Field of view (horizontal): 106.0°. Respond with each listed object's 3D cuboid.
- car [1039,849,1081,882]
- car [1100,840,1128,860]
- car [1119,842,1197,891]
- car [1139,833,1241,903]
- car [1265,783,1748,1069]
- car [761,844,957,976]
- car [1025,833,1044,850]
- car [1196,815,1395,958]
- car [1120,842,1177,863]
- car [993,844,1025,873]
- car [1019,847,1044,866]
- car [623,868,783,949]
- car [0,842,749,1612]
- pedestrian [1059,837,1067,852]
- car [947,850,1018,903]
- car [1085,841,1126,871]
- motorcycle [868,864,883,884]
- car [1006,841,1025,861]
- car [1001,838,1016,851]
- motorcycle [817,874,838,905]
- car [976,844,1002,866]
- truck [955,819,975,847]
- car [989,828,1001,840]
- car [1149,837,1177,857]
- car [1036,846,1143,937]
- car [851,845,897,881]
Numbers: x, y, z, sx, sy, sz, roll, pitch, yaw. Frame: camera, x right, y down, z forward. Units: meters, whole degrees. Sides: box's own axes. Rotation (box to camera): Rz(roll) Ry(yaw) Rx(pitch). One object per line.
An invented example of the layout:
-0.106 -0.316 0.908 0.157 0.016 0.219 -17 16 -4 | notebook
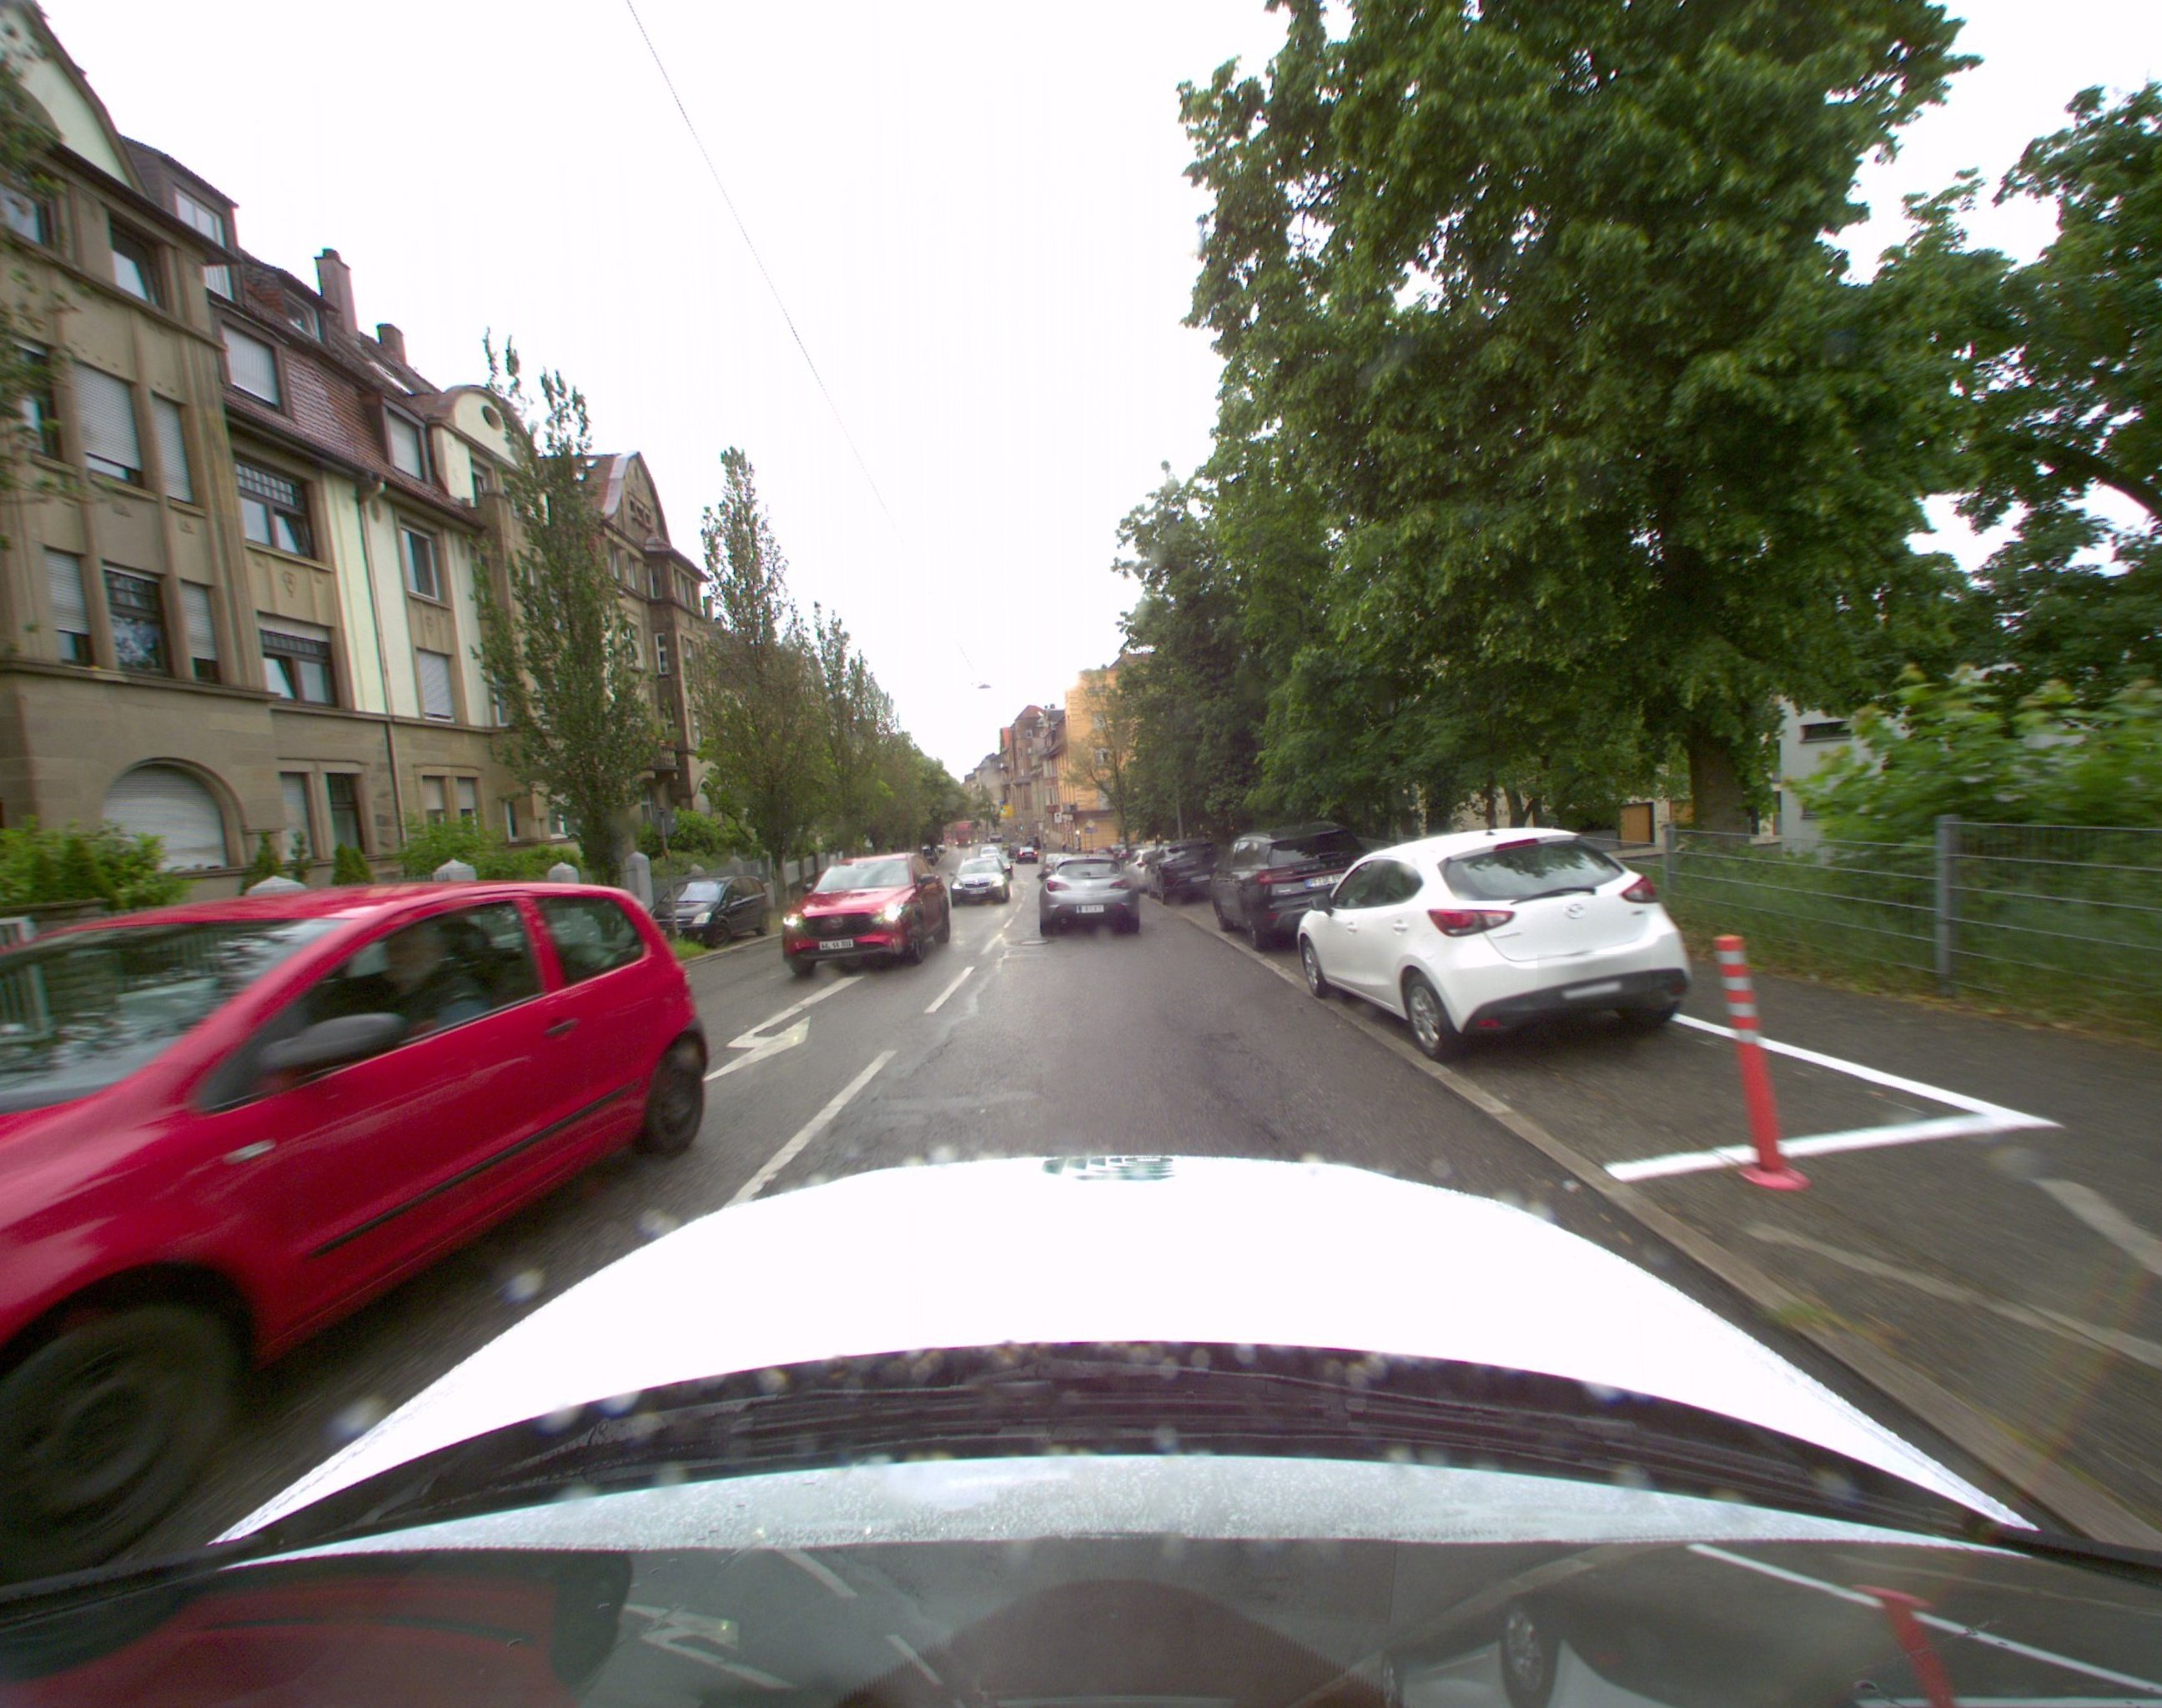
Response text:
-1.037 0.550 38.964 1.773 1.430 3.779 -2 -1 -5 | car
2.698 -0.337 65.264 1.765 1.429 3.796 -2 2 9 | car
2.647 0.435 28.975 1.973 1.452 4.107 -6 0 -5 | car
2.955 0.380 23.087 1.971 1.609 4.481 -6 0 -2 | car
3.086 0.459 7.017 1.810 1.494 3.997 -9 -1 -2 | car
-3.270 0.723 12.950 1.840 1.583 4.278 -6 0 -1 | car
-5.676 -1.470 98.927 1.992 1.688 3.992 -9 1 -6 | car
3.110 0.402 12.930 1.815 1.683 4.804 -5 0 1 | car
4.817 -0.103 58.170 3.771 1.430 1.777 1 -1 -8 | car
-4.087 0.269 46.506 1.658 1.448 3.986 -4 0 -5 | car
-4.039 0.157 65.938 1.766 1.414 3.707 -1 1 -7 | car
-8.793 1.189 19.345 1.808 1.612 4.001 -2 0 1 | car
-2.985 0.786 2.981 1.648 1.568 4.003 -3 0 3 | car
-1.818 -0.983 82.222 0.612 1.496 0.552 -3 3 -4 | pedestrian
-3.129 0.660 26.735 1.733 1.473 4.280 -4 0 0 | car
1.412 0.145 48.072 1.812 1.467 3.993 -8 0 -5 | car
-13.641 1.311 54.067 0.558 1.237 1.642 -4 0 -3 | motorcycle
-6.600 -0.361 81.688 1.639 1.688 3.709 -3 4 -7 | car
-9.224 -1.219 103.201 1.639 1.536 3.708 -3 0 -7 | car
-10.057 1.390 32.376 0.653 1.121 2.144 -2 0 -14 | motorcycle
-7.539 0.038 67.260 1.819 1.650 3.995 -5 1 -4 | car
-18.458 -3.394 129.614 2.788 4.131 10.821 -3 3 -9 | truck
-14.762 -3.380 139.718 1.782 1.855 3.985 -2 0 -11 | car
6.730 -0.609 66.812 1.764 1.429 3.800 -2 3 13 | car
0.200 0.630 16.231 1.808 1.429 4.002 -3 2 1 | car
-11.114 0.443 43.910 1.787 1.651 4.184 -7 1 -8 | car
